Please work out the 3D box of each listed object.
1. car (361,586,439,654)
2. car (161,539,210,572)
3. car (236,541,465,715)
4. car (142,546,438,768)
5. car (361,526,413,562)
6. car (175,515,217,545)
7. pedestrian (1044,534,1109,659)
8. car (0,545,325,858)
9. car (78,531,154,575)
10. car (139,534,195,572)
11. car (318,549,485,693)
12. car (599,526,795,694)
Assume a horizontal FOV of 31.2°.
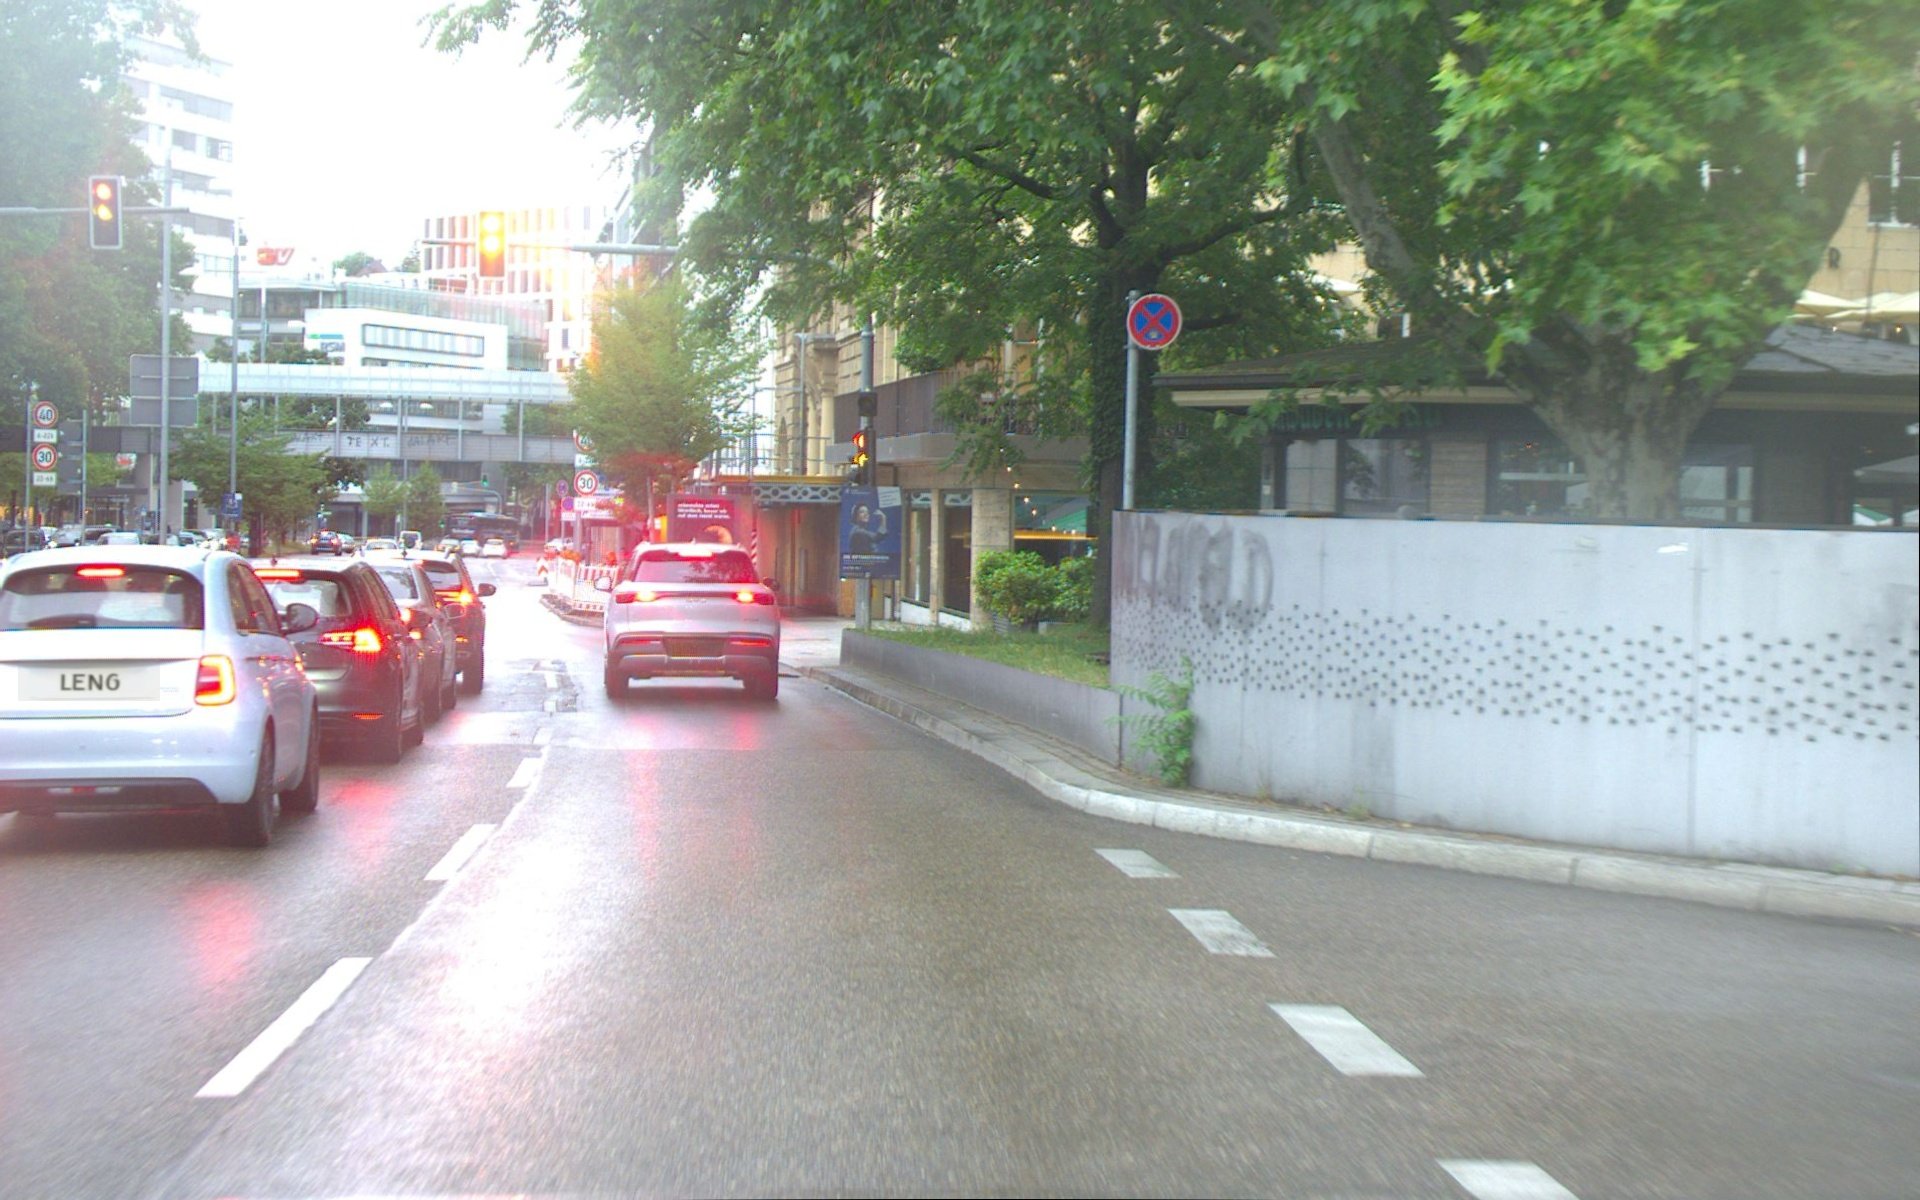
[{"bbox_3d":[-13.048,0.451,80.257,1.691,1.458,4.346,-1,1,-8],"label":"car"},{"bbox_3d":[-35.560,-2.060,157.909,1.794,1.505,4.501,-1,1,-8],"label":"car"},{"bbox_3d":[-5.547,0.203,31.698,1.691,1.458,4.346,-1,1,-5],"label":"car"},{"bbox_3d":[-4.825,0.348,25.232,1.691,1.458,4.131,-1,1,-5],"label":"car"},{"bbox_3d":[-23.635,-2.322,141.862,1.978,1.458,4.346,-1,1,-8],"label":"car"},{"bbox_3d":[-39.361,-3.591,177.192,1.794,1.505,4.346,-1,1,-8],"label":"car"},{"bbox_3d":[1.673,-0.046,49.483,0.859,1.774,0.718,1,0,-2],"label":"pedestrian"},{"bbox_3d":[-4.373,0.463,18.343,1.590,1.486,3.506,-1,1,-5],"label":"car"},{"bbox_3d":[-29.495,-1.649,120.246,2.158,1.458,4.346,-1,1,-8],"label":"car"},{"bbox_3d":[-31.822,-1.898,137.994,1.794,1.505,4.501,-1,1,-8],"label":"car"},{"bbox_3d":[-6.083,0.185,37.772,1.691,1.458,4.346,-1,1,-8],"label":"car"},{"bbox_3d":[-2.892,0.077,37.458,1.946,1.660,4.346,2,1,-5],"label":"car"}]
